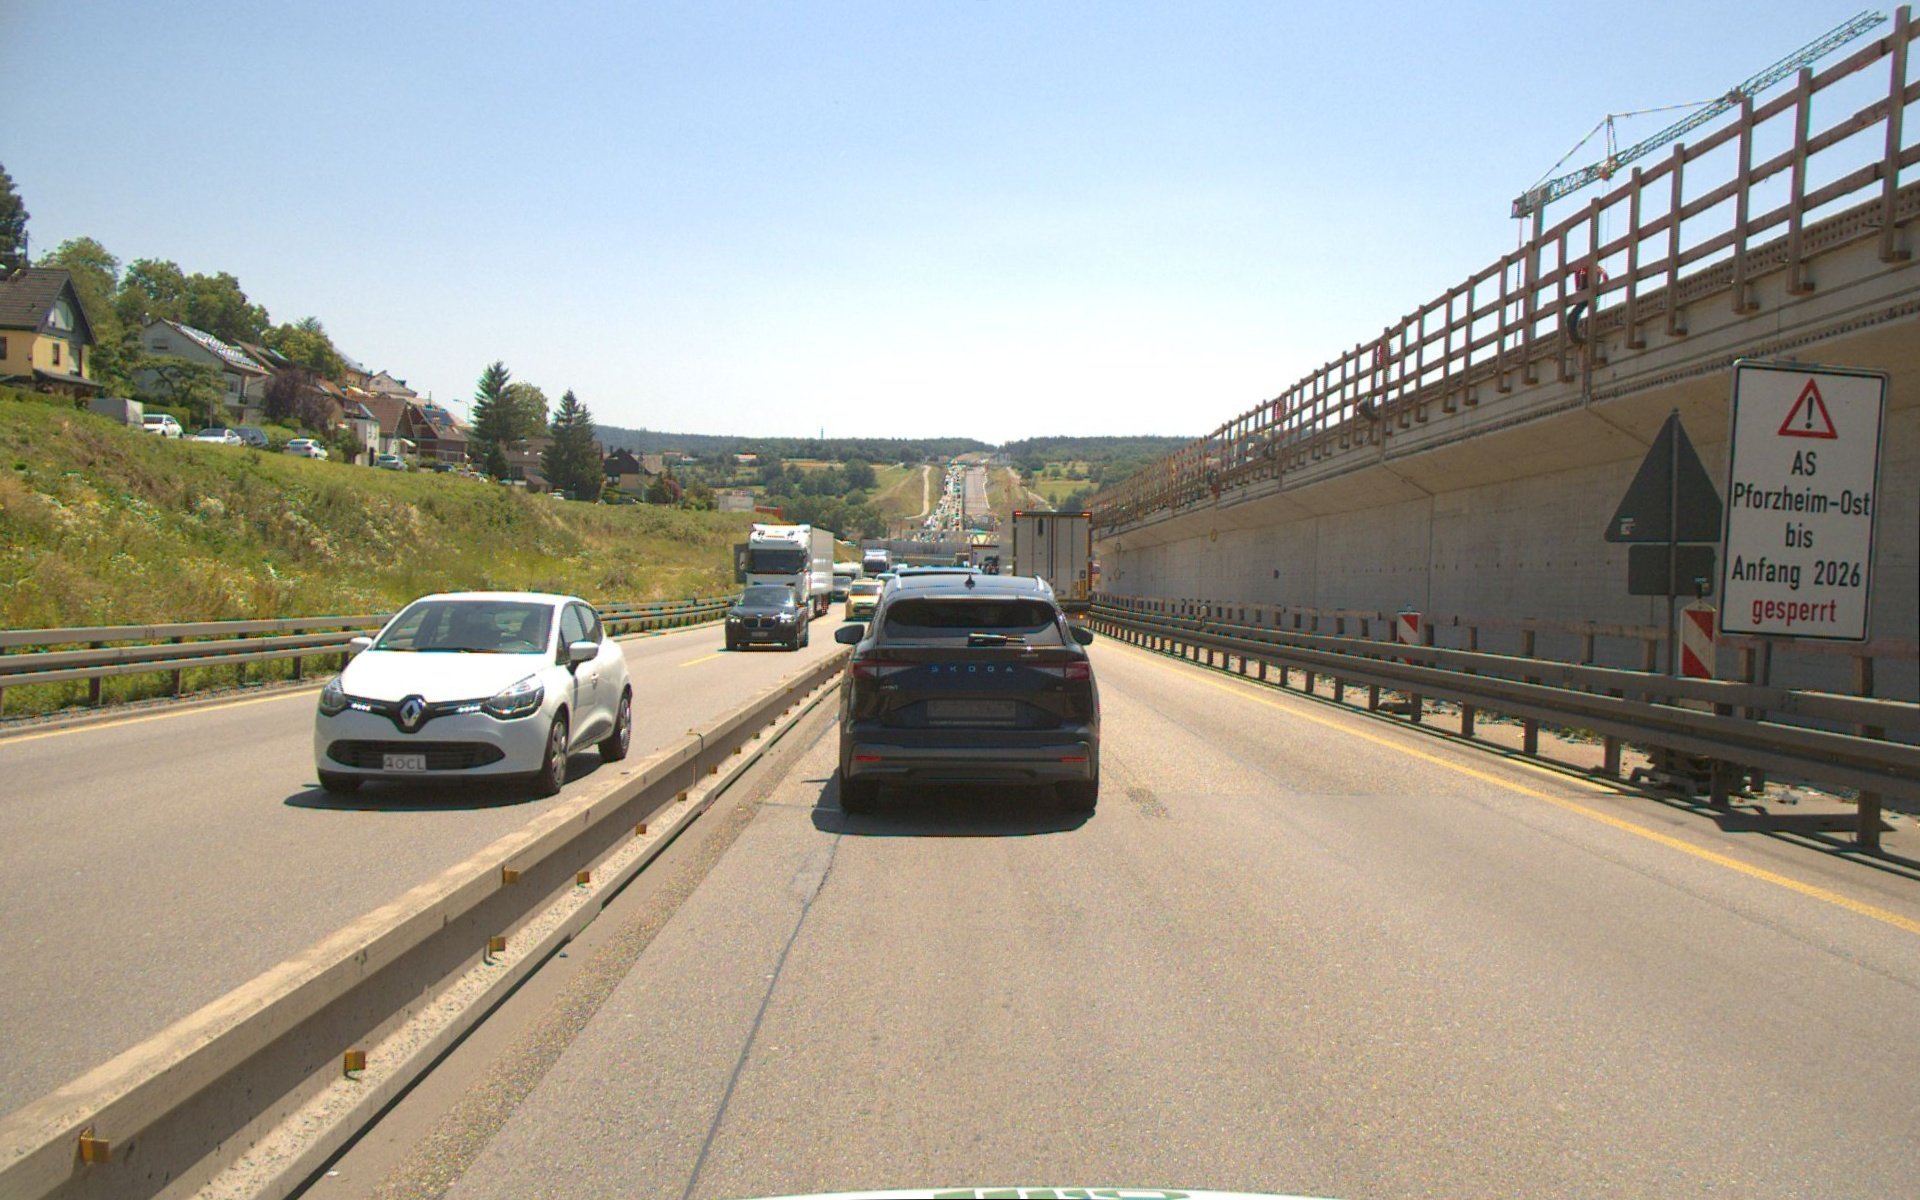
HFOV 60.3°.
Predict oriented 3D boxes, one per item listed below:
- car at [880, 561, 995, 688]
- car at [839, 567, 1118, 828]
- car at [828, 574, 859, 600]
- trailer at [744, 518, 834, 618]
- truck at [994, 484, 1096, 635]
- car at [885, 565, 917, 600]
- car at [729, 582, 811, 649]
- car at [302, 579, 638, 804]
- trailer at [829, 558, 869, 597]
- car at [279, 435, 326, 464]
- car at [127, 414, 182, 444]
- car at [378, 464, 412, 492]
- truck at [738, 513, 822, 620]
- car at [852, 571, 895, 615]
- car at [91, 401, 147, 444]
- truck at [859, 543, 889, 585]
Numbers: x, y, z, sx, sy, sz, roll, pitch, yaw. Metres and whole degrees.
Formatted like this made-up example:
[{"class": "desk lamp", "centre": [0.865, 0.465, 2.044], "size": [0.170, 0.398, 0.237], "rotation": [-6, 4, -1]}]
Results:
[{"class": "car", "centre": [-0.448, 0.383, 28.305], "size": [1.715, 1.928, 3.753], "rotation": [3, 0, -3]}, {"class": "car", "centre": [0.061, 0.615, 12.351], "size": [1.747, 1.625, 3.754], "rotation": [1, 0, -2]}, {"class": "car", "centre": [-7.825, -0.855, 111.391], "size": [1.712, 1.612, 3.999], "rotation": [4, -1, -1]}, {"class": "trailer", "centre": [-7.810, -1.413, 77.347], "size": [3.155, 4.231, 13.404], "rotation": [1, 0, -2]}, {"class": "truck", "centre": [2.814, -1.222, 58.102], "size": [2.788, 4.696, 11.809], "rotation": [2, -1, 0]}, {"class": "car", "centre": [-3.580, -1.046, 101.061], "size": [1.825, 2.049, 4.804], "rotation": [1, -1, -1]}, {"class": "car", "centre": [-4.739, 0.357, 41.745], "size": [1.665, 1.588, 4.102], "rotation": [1, 0, -1]}, {"class": "car", "centre": [-3.695, 0.615, 13.126], "size": [1.657, 1.512, 3.748], "rotation": [1, 0, -2]}, {"class": "trailer", "centre": [-8.019, -1.589, 119.894], "size": [2.434, 2.659, 5.867], "rotation": [0, -1, 0]}, {"class": "car", "centre": [-41.308, -9.449, 104.031], "size": [1.959, 1.342, 3.989], "rotation": [5, -1, -12]}, {"class": "car", "centre": [-37.391, -7.909, 76.819], "size": [1.255, 1.057, 3.270], "rotation": [1, 0, -7]}, {"class": "car", "centre": [-42.238, -9.103, 123.704], "size": [1.891, 1.758, 3.989], "rotation": [1, 0, -11]}, {"class": "truck", "centre": [-7.611, -1.340, 70.750], "size": [3.117, 4.312, 6.481], "rotation": [1, -1, -3]}, {"class": "car", "centre": [-3.851, -0.326, 74.113], "size": [1.739, 1.852, 4.433], "rotation": [1, 0, -1]}, {"class": "car", "centre": [-36.758, -7.727, 72.358], "size": [1.702, 1.422, 3.778], "rotation": [3, 0, -21]}, {"class": "truck", "centre": [-9.074, -3.739, 174.960], "size": [2.697, 4.301, 8.099], "rotation": [1, 1, 0]}]
